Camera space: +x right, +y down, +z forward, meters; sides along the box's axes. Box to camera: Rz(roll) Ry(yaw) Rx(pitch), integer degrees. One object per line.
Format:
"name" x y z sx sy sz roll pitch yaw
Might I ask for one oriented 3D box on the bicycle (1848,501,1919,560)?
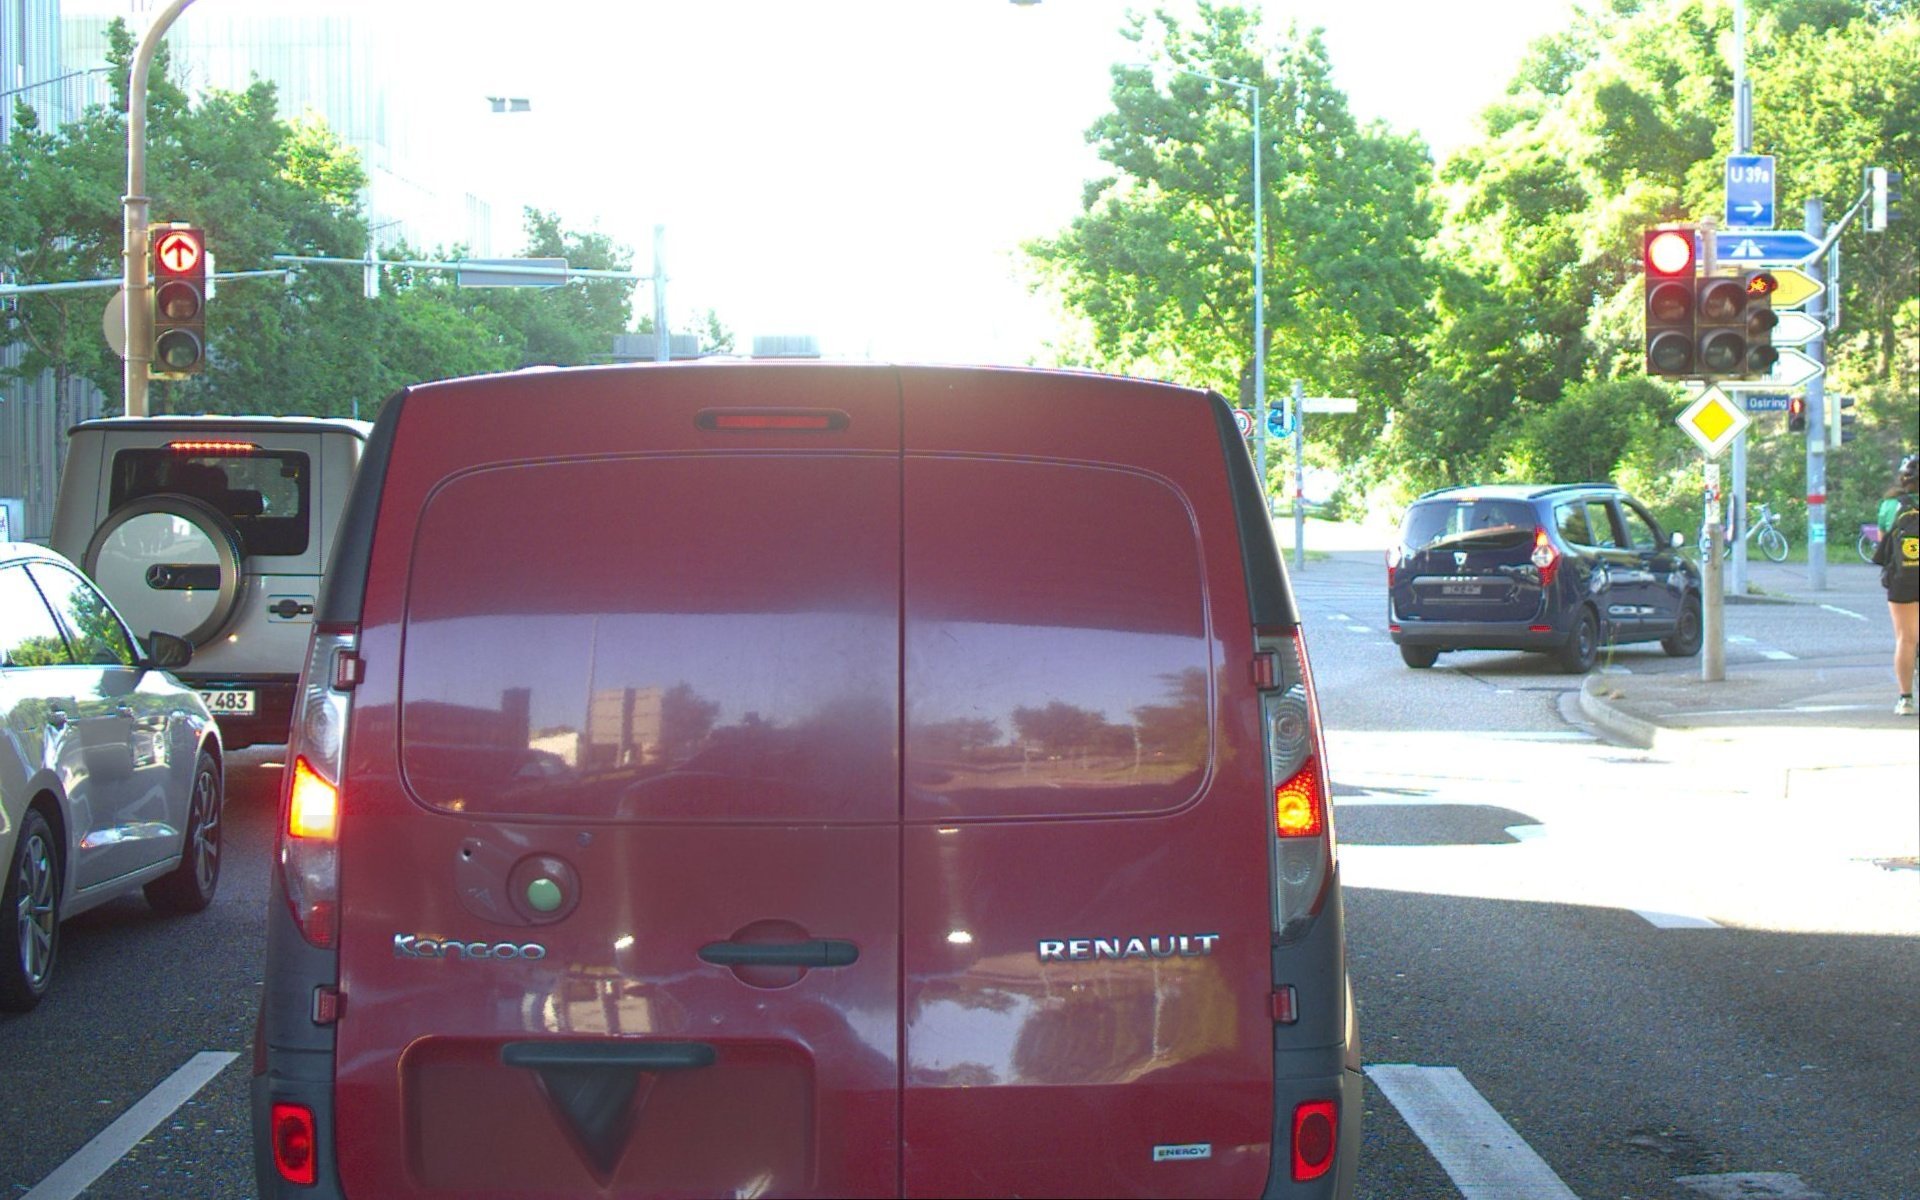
"bicycle" 16.668 -1.228 60.915 1.745 1.020 0.593 1 0 9

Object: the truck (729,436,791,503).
"truck" -9.509 -6.184 164.035 2.409 3.016 6.657 -2 2 0

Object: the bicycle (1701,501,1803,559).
"bicycle" 14.358 -1.274 62.377 1.745 1.020 0.593 1 0 9

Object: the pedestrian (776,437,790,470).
"pedestrian" -10.738 -8.877 208.245 0.740 2.007 0.637 1 0 3

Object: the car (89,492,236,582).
"car" -16.565 -1.342 71.623 1.825 1.731 4.629 -2 2 1

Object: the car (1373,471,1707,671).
"car" 5.356 -0.281 31.373 1.722 1.700 3.975 1 1 30

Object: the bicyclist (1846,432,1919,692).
"bicyclist" 6.047 -0.239 21.792 0.591 1.608 0.942 1 0 -1

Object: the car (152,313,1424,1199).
"car" -0.272 0.476 6.925 1.805 1.788 4.000 1 1 -1

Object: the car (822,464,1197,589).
"car" 0.616 -0.937 44.284 4.547 1.509 1.828 1 0 -10

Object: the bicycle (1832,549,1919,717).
"bicycle" 6.057 0.196 21.763 0.591 1.020 1.750 1 1 -1

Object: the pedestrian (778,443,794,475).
"pedestrian" -11.108 -8.991 219.086 0.941 2.007 0.694 1 0 3

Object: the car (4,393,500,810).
"car" -3.719 -0.016 18.853 1.801 1.982 4.589 1 1 -1

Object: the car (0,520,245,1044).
"car" -3.639 0.470 11.408 1.813 1.433 3.731 0 2 -1
